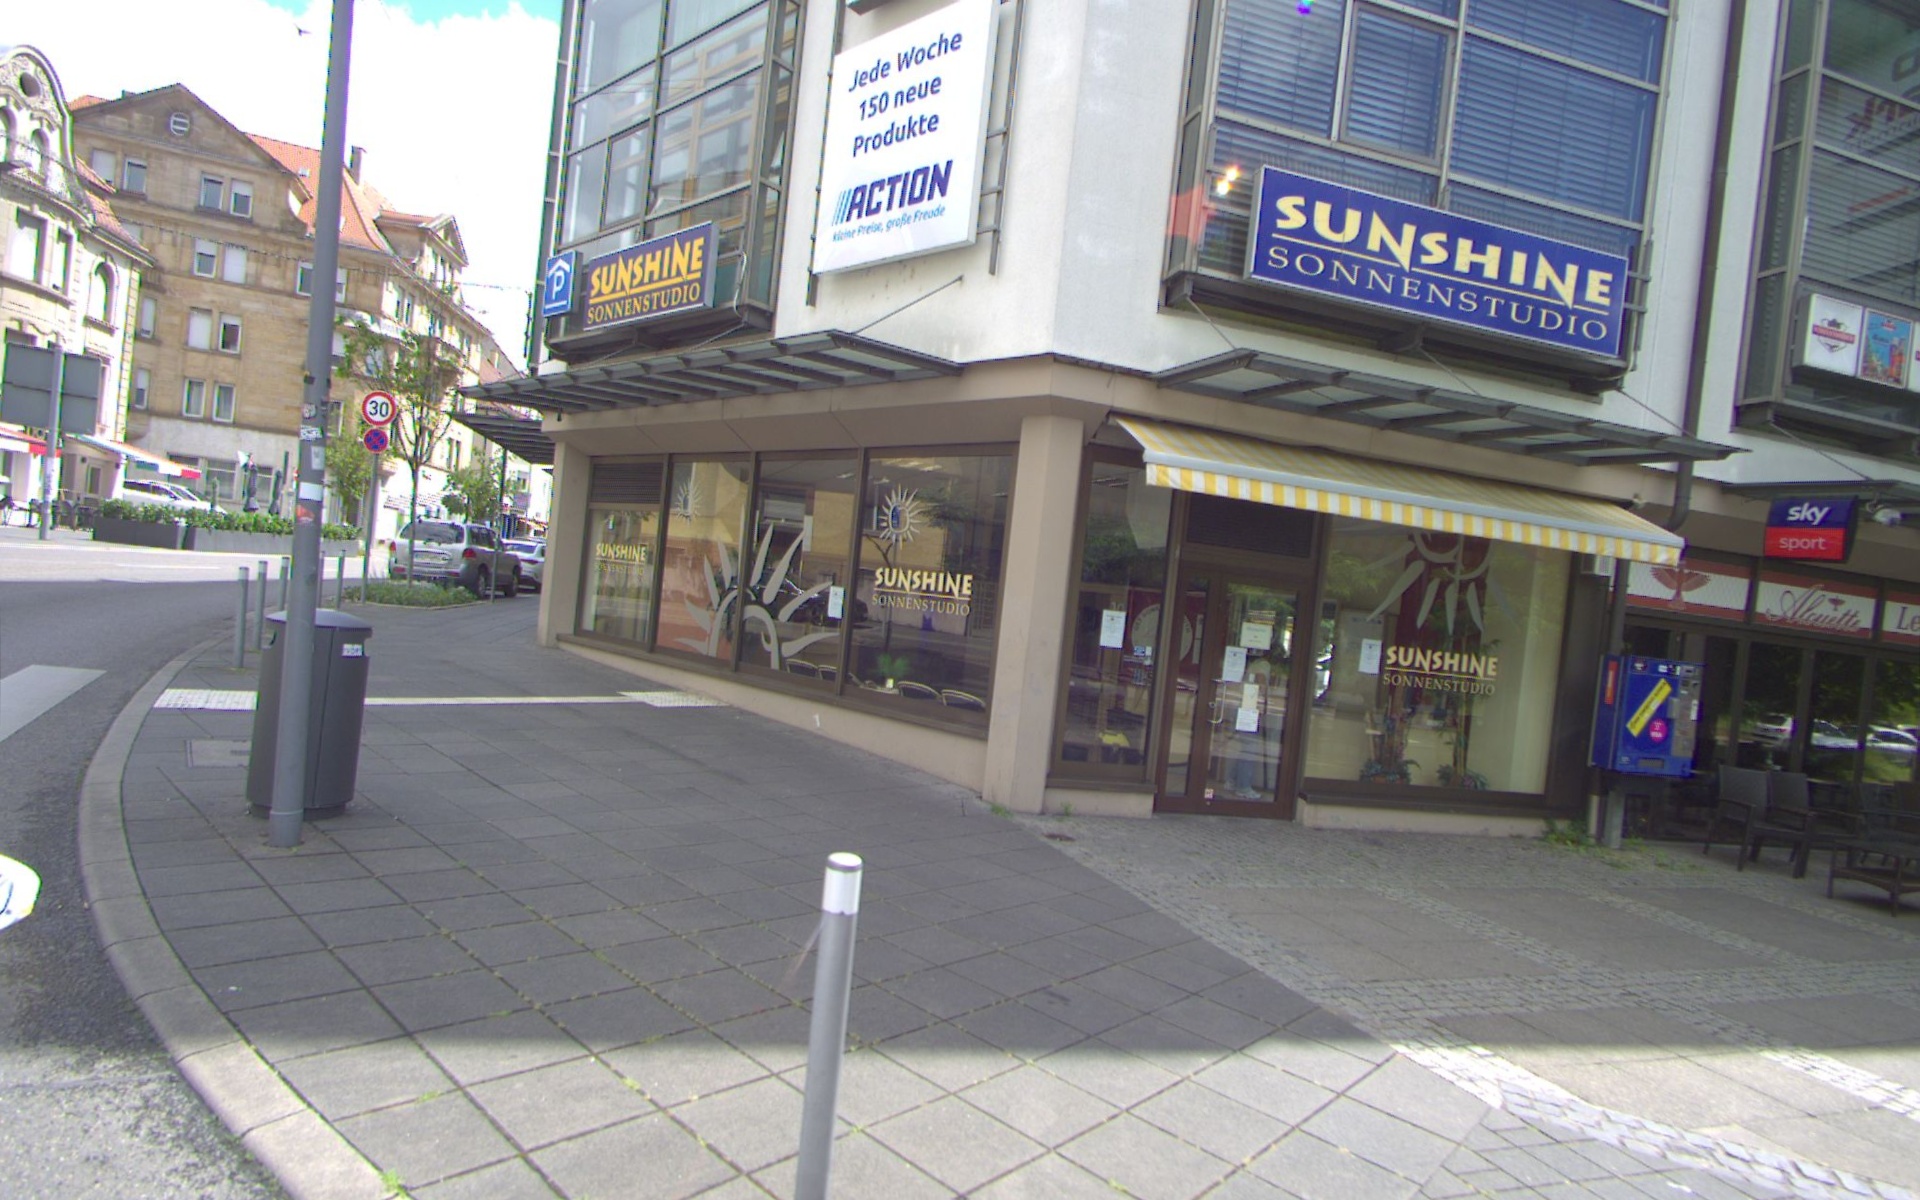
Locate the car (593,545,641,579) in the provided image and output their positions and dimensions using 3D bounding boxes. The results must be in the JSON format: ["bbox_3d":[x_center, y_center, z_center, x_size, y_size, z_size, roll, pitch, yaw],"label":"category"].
[{"bbox_3d":[-22.280,-2.460,65.603,1.944,1.899,5.028,6,1,-9],"label":"car"}]

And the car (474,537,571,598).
[{"bbox_3d":[-12.561,-0.920,29.119,1.600,1.452,4.228,6,1,-12],"label":"car"}]

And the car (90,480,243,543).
[{"bbox_3d":[-31.788,-3.513,40.491,4.381,1.798,1.986,7,0,-28],"label":"car"}]

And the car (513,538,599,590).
[{"bbox_3d":[-14.240,-1.220,35.712,1.798,1.538,4.226,5,0,-9],"label":"car"}]

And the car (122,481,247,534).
[{"bbox_3d":[-34.931,-4.133,45.438,3.940,1.682,1.902,7,0,-17],"label":"car"}]

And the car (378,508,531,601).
[{"bbox_3d":[-11.509,-0.978,23.222,1.798,1.753,4.226,5,0,-9],"label":"car"}]

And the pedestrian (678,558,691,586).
[{"bbox_3d":[-20.954,-2.120,76.504,0.673,2.039,0.598,7,1,-8],"label":"pedestrian"}]
